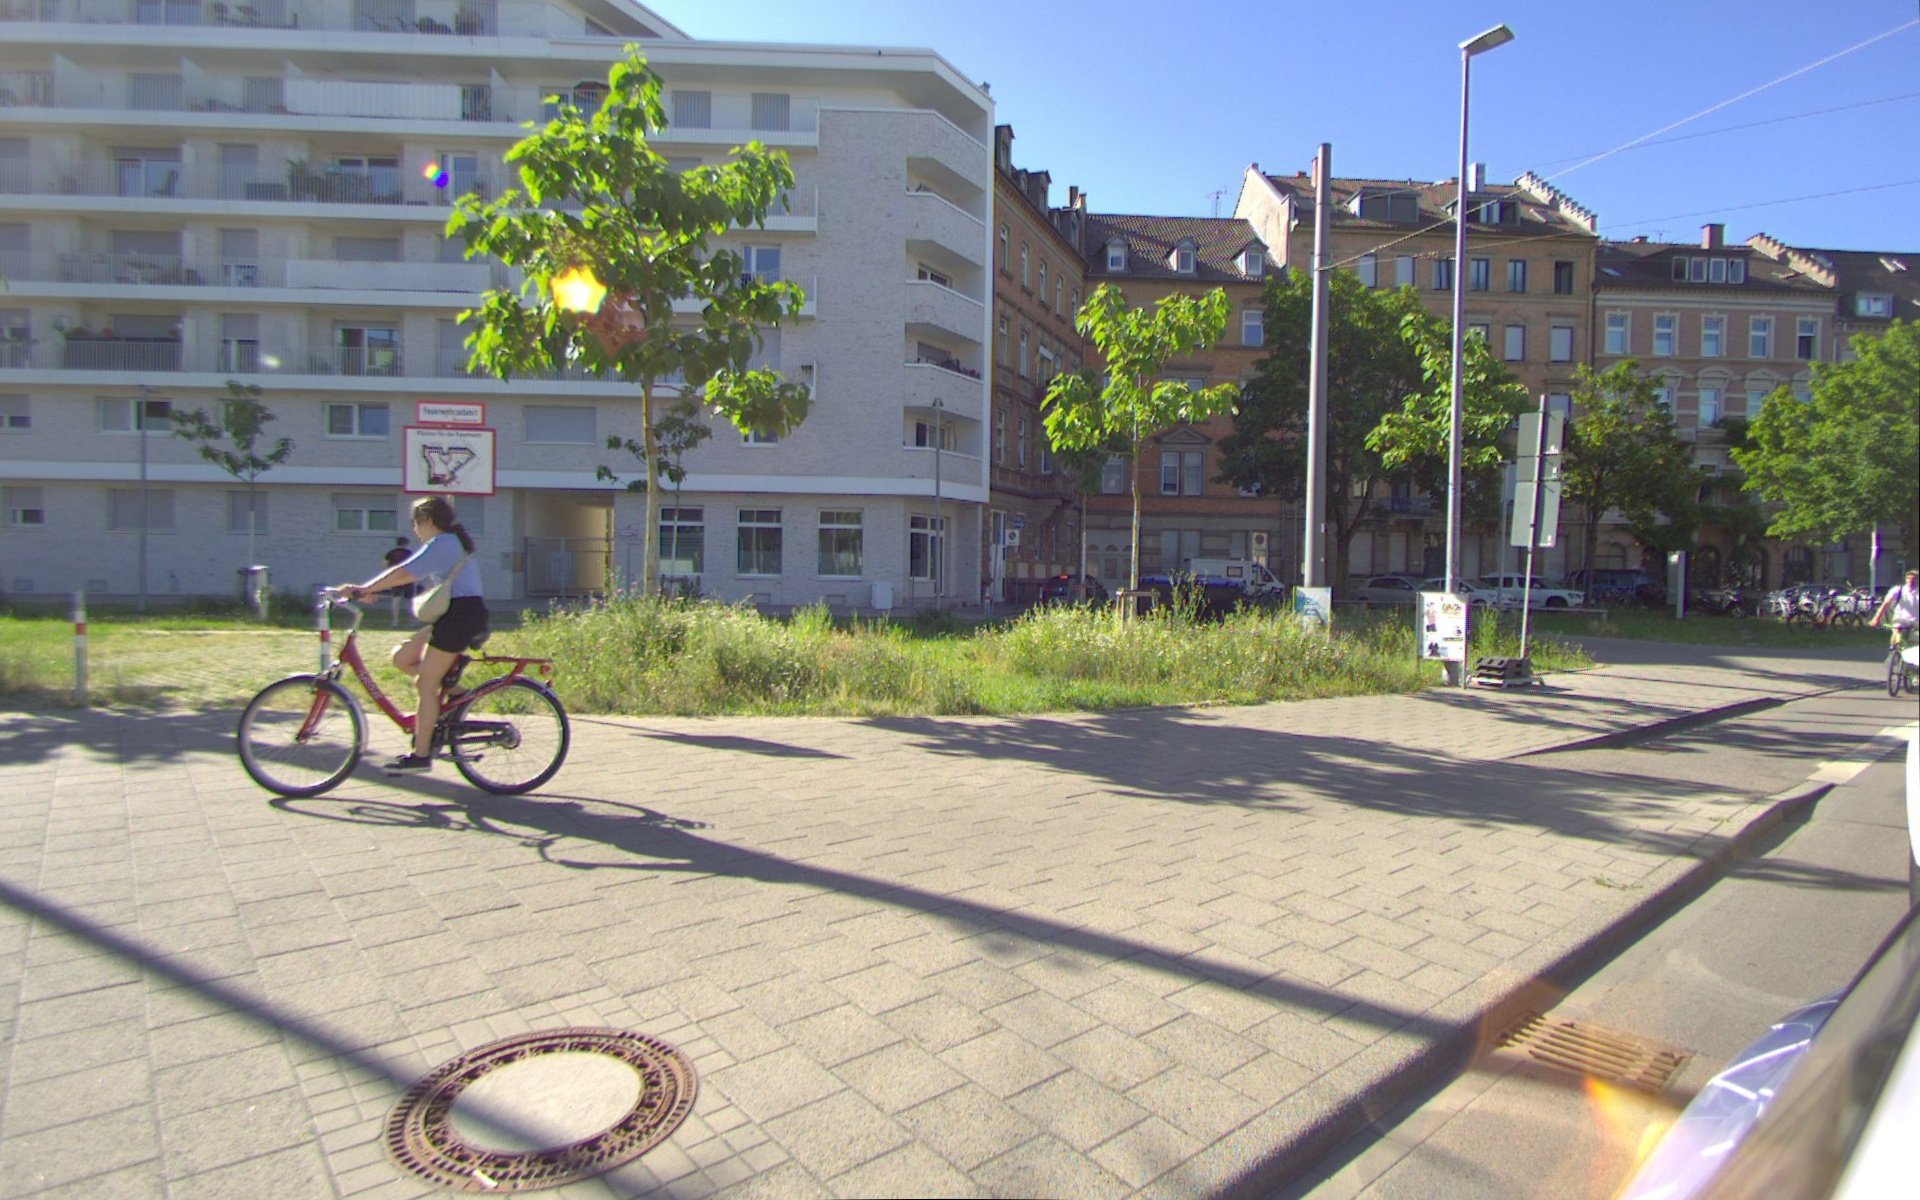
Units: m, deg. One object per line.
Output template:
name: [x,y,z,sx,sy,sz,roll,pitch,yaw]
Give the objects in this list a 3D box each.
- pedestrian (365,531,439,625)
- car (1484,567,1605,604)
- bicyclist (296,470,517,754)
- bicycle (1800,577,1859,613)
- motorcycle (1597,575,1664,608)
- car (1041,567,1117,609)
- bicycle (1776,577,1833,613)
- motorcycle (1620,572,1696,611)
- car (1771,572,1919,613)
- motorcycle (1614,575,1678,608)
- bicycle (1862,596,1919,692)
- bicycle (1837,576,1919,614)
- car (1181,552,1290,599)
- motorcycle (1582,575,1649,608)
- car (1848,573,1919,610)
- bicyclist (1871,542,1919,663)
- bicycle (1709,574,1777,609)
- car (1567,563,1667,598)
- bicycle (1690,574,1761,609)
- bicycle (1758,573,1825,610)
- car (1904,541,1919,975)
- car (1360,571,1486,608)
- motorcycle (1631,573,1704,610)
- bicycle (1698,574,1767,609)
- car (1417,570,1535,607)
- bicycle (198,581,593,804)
pedestrian: [-10.659,-0.426,19.351,0.829,1.717,0.985,2,2,2]
car: [22.327,-0.584,38.769,1.513,1.267,3.700,-1,3,-39]
bicyclist: [-3.017,0.056,5.599,0.920,1.454,0.670,0,1,-12]
bicycle: [32.033,-0.198,37.329,0.653,1.284,2.196,0,0,12]
motorcycle: [26.696,-0.342,40.353,0.649,1.300,2.324,0,0,-18]
car: [4.565,-0.510,38.295,1.811,1.444,4.359,1,2,21]
bicycle: [30.939,-0.191,37.106,0.653,1.284,2.196,0,0,12]
motorcycle: [25.337,-0.311,36.775,0.650,1.347,2.207,0,0,-28]
car: [34.684,-0.327,39.588,1.651,1.423,4.324,-1,3,-38]
motorcycle: [27.487,-0.341,40.607,0.649,1.284,2.209,0,0,-18]
bicycle: [14.227,0.627,15.149,1.716,1.343,0.716,0,2,-37]
bicycle: [31.628,-0.171,34.759,2.180,1.284,0.657,0,0,25]
car: [12.660,-1.161,46.779,4.416,2.062,2.054,1,2,0]
motorcycle: [26.025,-0.334,40.221,0.649,1.293,2.324,0,0,-18]
car: [37.821,-0.335,39.957,1.649,1.423,3.832,-1,3,-32]
bicyclist: [14.346,0.032,15.204,1.073,1.747,0.716,0,2,-37]
bicycle: [29.722,-0.332,38.459,0.649,1.284,2.208,0,0,-9]
car: [30.874,-0.928,47.645,3.631,1.607,1.552,1,2,0]
bicycle: [28.368,-0.316,37.560,0.649,1.284,2.208,0,0,-11]
bicycle: [29.272,-0.297,35.669,0.651,1.284,2.202,0,0,4]
car: [5.865,0.607,4.713,4.323,1.667,1.840,0,0,-43]
car: [17.347,-0.427,38.104,1.648,1.267,4.170,0,3,-28]
motorcycle: [26.153,-0.326,37.464,0.649,1.339,2.208,0,0,-23]
bicycle: [29.079,-0.325,38.148,0.649,1.284,2.208,0,0,-9]
car: [19.671,-0.473,38.714,1.648,1.267,3.709,0,3,-28]
bicycle: [-3.018,0.477,5.594,1.782,1.085,0.671,1,3,-13]
